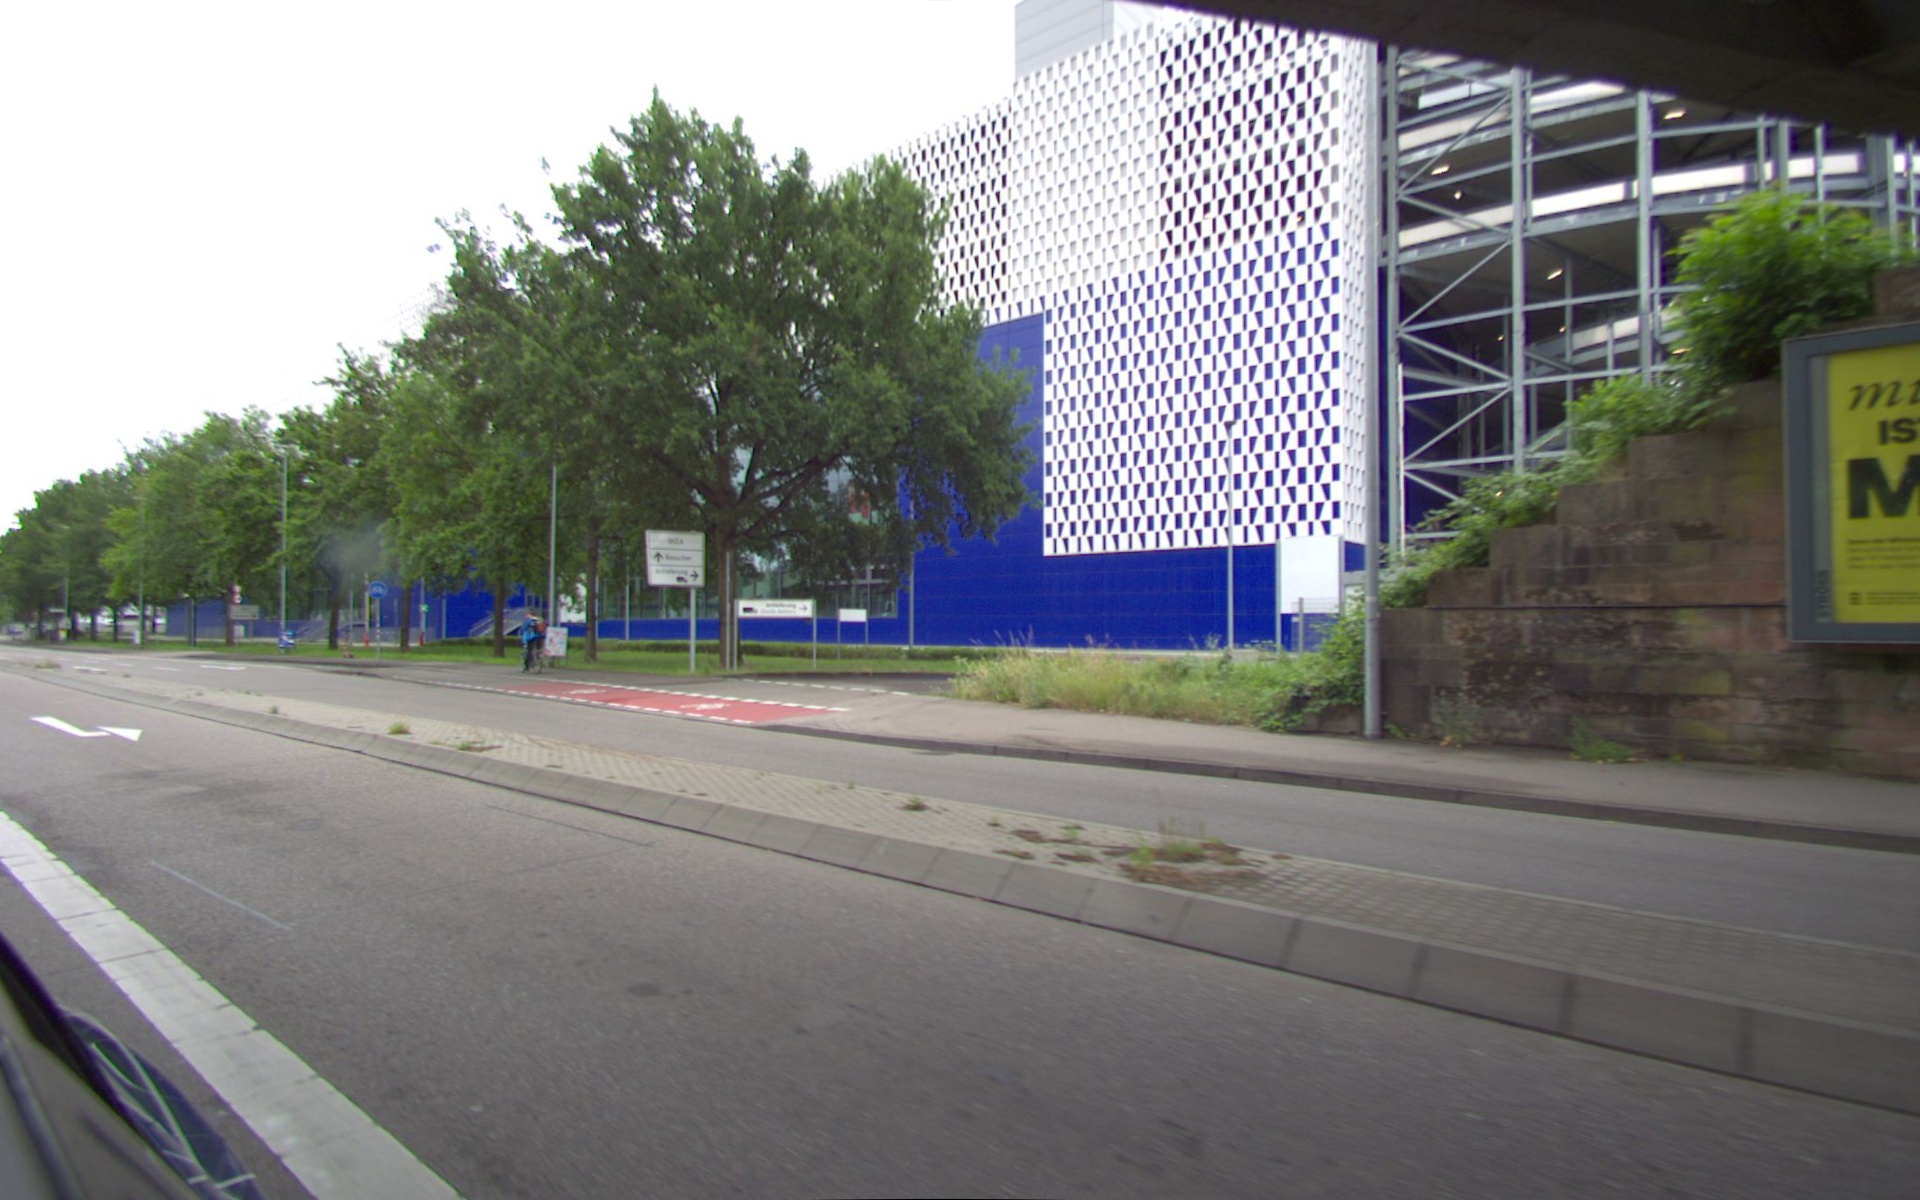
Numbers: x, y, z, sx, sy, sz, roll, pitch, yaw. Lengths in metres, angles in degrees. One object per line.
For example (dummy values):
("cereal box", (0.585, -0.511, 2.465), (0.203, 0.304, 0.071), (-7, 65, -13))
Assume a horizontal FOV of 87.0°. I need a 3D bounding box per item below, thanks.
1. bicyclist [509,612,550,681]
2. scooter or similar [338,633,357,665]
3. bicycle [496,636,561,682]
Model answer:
("bicyclist", (-12.206, 1.302, 28.697), (1.019, 1.888, 0.694), (-1, -1, 40))
("scooter or similar", (-26.147, 2.097, 43.205), (0.441, 1.332, 1.508), (2, -3, -40))
("bicycle", (-12.279, 1.649, 28.764), (2.369, 1.196, 0.705), (-1, 0, 41))
